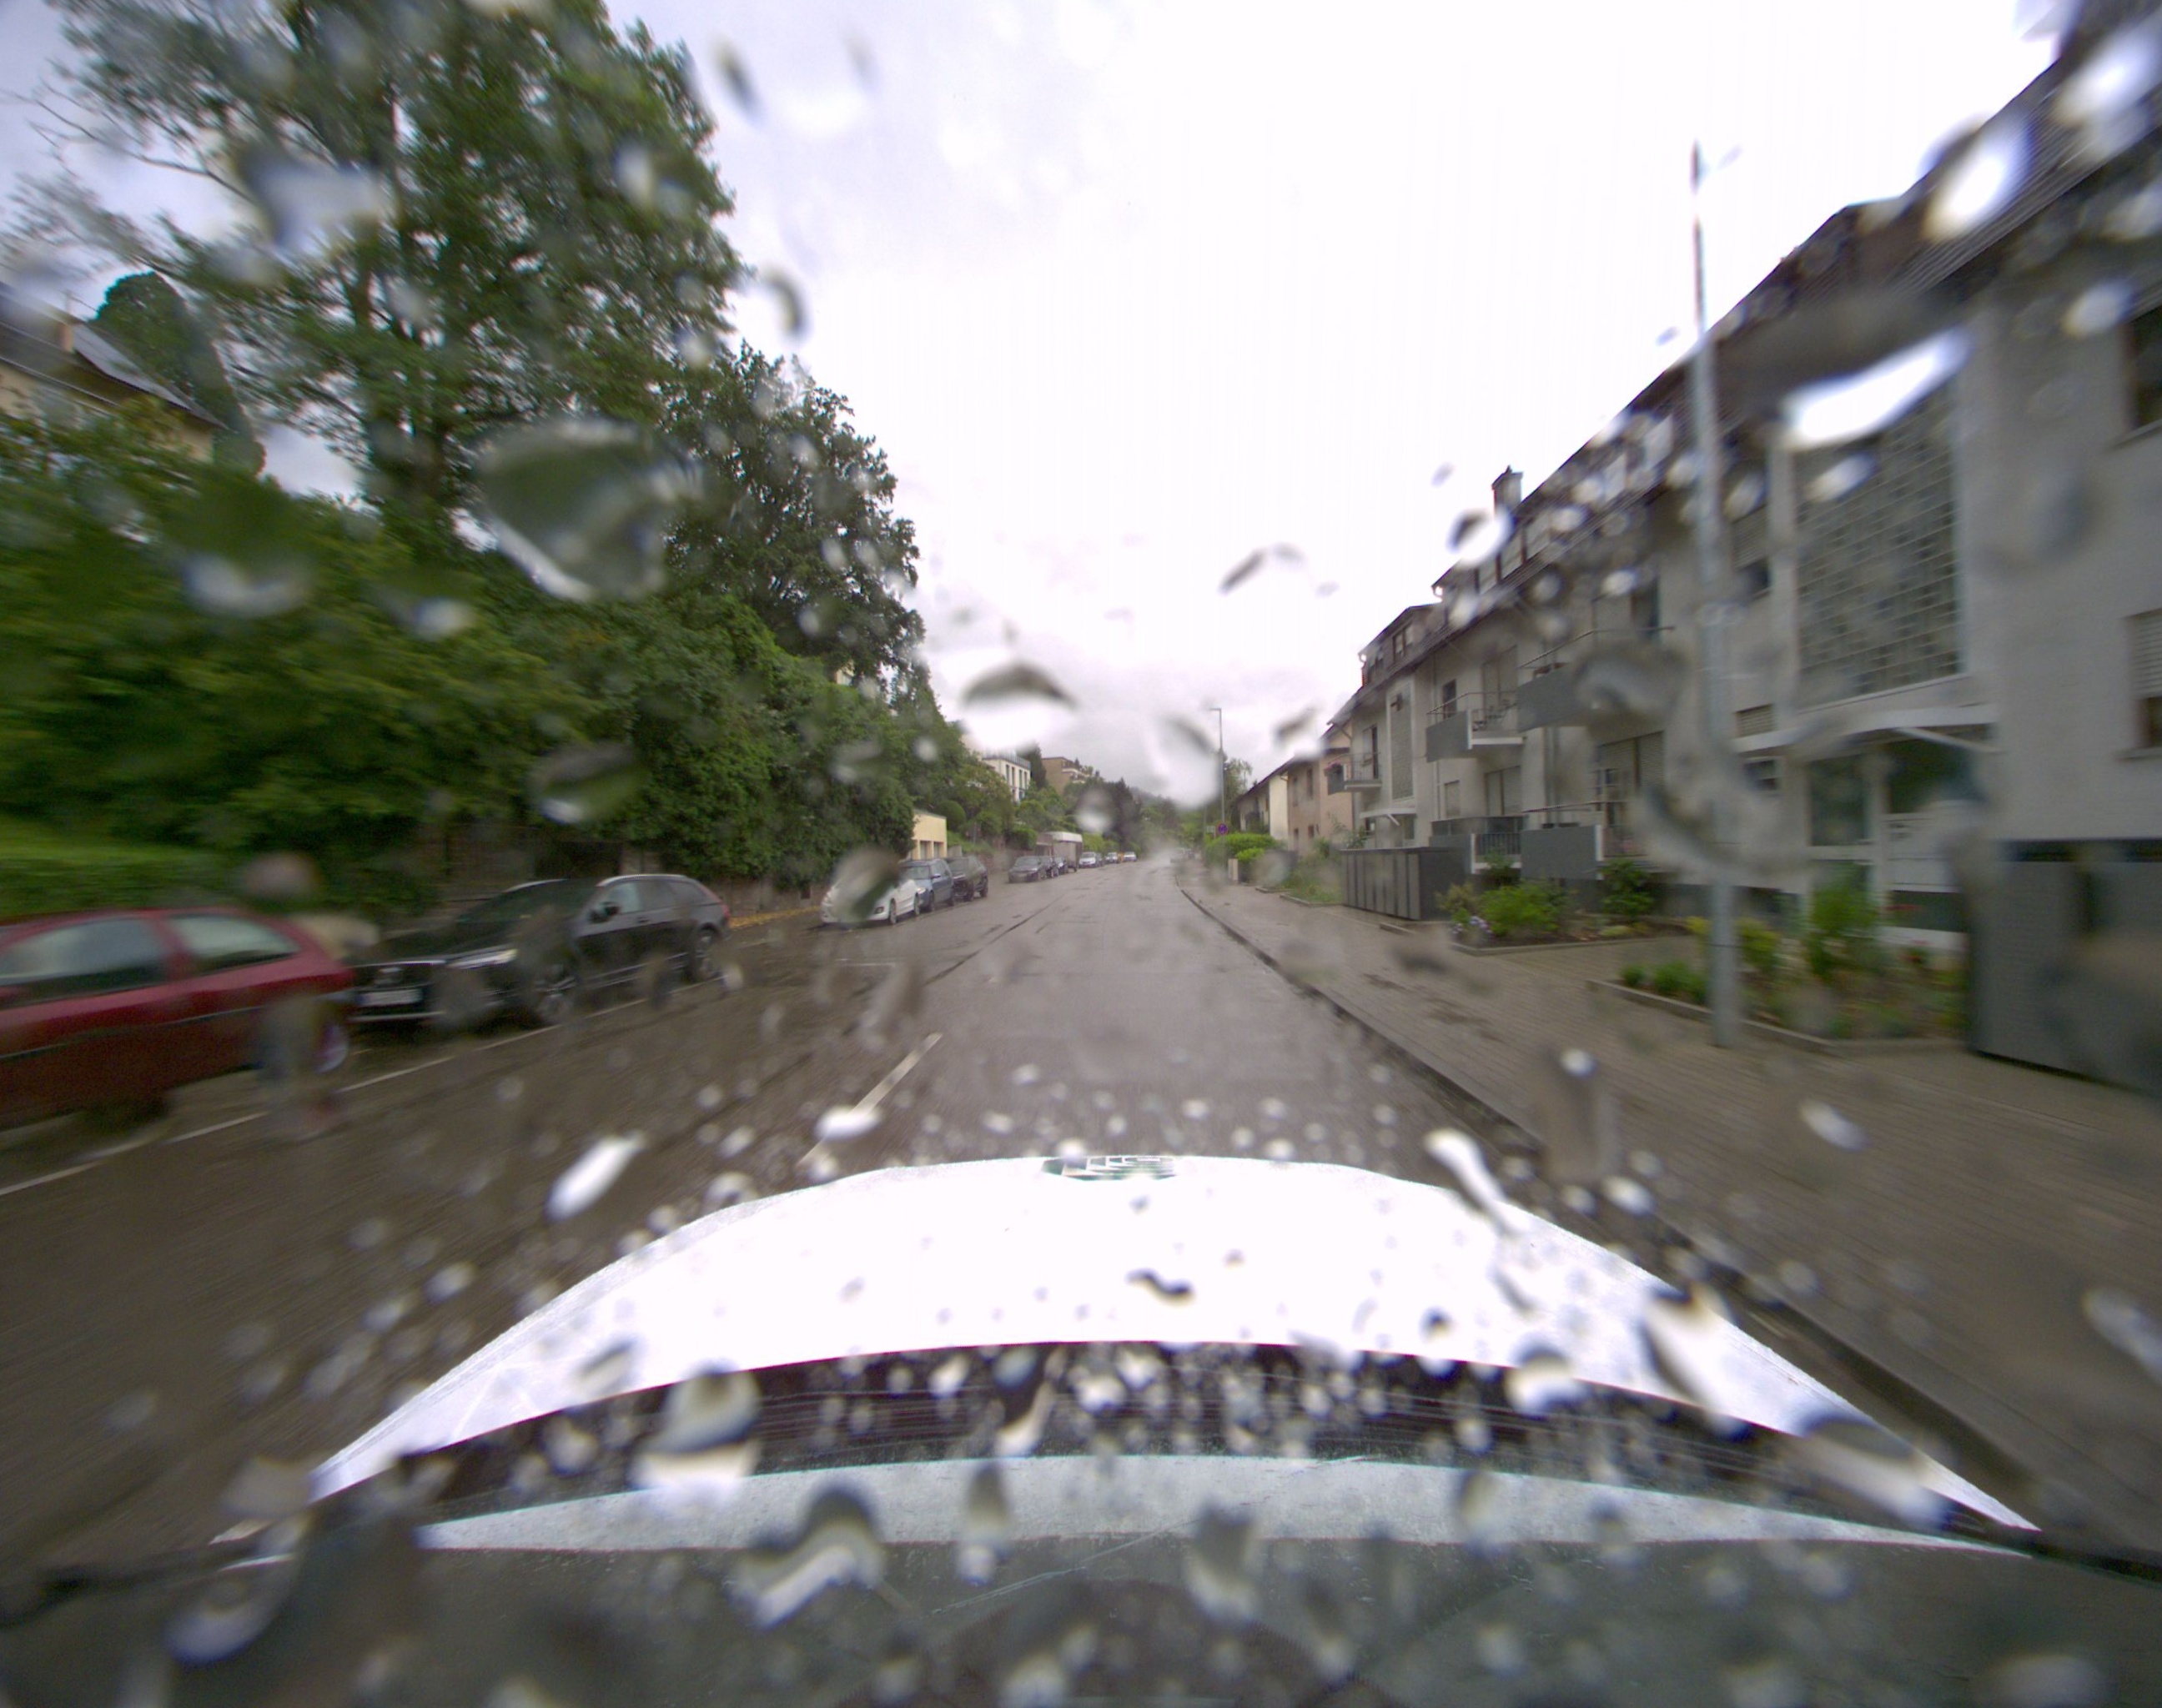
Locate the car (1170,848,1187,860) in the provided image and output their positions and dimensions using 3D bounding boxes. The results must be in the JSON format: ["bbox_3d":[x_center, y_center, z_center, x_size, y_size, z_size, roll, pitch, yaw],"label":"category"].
[{"bbox_3d":[12.433,0.012,103.418,1.778,1.460,4.321,-1,0,11],"label":"car"}]

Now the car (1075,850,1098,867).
[{"bbox_3d":[0.554,0.455,81.327,1.746,1.539,3.764,-4,0,7],"label":"car"}]

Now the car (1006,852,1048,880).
[{"bbox_3d":[-3.158,0.707,48.854,1.777,1.455,4.761,-3,0,4],"label":"car"}]

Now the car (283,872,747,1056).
[{"bbox_3d":[-6.119,1.048,9.747,1.900,1.480,4.761,-4,-1,4],"label":"car"}]

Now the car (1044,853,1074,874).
[{"bbox_3d":[-1.617,0.695,61.309,1.799,1.349,3.782,-2,0,5],"label":"car"}]

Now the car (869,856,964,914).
[{"bbox_3d":[-5.115,0.912,25.859,1.733,1.561,4.115,-3,0,5],"label":"car"}]

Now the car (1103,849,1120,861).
[{"bbox_3d":[3.942,0.155,104.071,1.746,1.402,3.778,-4,0,7],"label":"car"}]

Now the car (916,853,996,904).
[{"bbox_3d":[-4.635,0.848,30.839,1.865,1.626,4.599,-4,0,5],"label":"car"}]

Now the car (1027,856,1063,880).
[{"bbox_3d":[-2.404,0.926,54.754,1.777,1.415,4.224,-2,0,5],"label":"car"}]

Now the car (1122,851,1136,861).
[{"bbox_3d":[7.230,0.295,123.008,1.746,1.498,4.229,-2,-1,8],"label":"car"}]

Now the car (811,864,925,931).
[{"bbox_3d":[-5.369,1.051,21.071,1.710,1.365,4.085,-3,1,1],"label":"car"}]

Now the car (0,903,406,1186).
[{"bbox_3d":[-6.525,1.121,4.891,1.558,1.364,3.909,-3,0,2],"label":"car"}]

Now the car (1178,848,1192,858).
[{"bbox_3d":[14.794,-0.117,115.471,1.698,1.403,4.216,-1,0,11],"label":"car"}]

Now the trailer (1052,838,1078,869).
[{"bbox_3d":[-1.288,-0.076,67.052,1.527,2.399,3.081,-3,0,9],"label":"trailer"}]

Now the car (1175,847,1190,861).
[{"bbox_3d":[13.641,-0.023,109.267,1.773,1.790,4.374,-1,0,11],"label":"car"}]

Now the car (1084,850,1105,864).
[{"bbox_3d":[1.461,0.295,86.898,1.746,1.409,3.712,-4,0,7],"label":"car"}]
